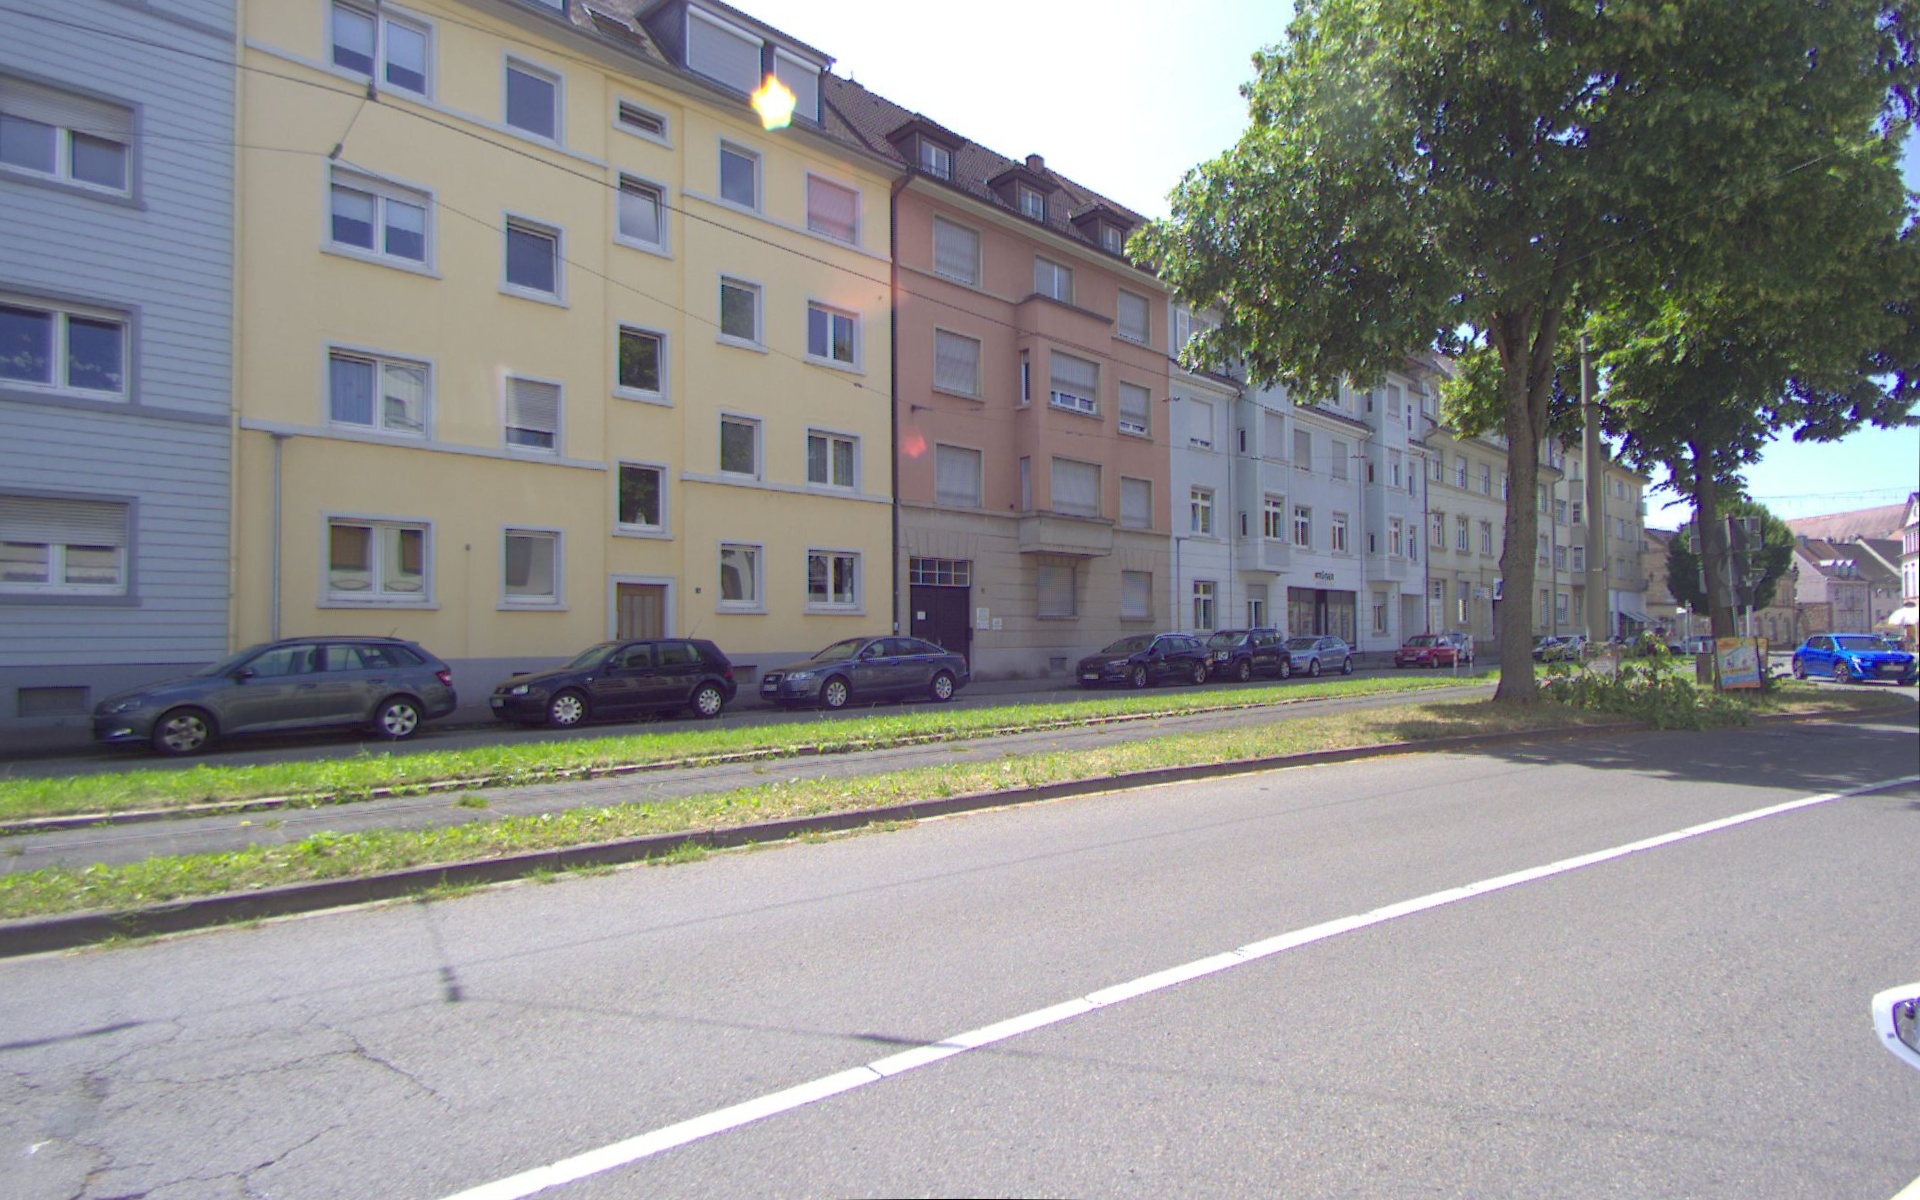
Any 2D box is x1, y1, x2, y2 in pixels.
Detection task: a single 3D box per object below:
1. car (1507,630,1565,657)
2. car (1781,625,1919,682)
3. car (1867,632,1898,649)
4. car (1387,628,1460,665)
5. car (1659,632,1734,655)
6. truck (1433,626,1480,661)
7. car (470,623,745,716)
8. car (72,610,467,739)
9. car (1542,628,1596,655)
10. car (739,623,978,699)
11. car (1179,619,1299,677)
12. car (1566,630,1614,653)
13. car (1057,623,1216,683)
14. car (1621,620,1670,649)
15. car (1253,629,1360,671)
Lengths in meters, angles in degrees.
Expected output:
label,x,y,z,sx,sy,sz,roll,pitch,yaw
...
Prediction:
label,x,y,z,sx,sy,sz,roll,pitch,yaw
car,30.452,2.282,53.073,3.832,1.378,1.670,2,-4,-44
car,26.663,1.547,30.249,1.780,1.512,4.000,1,0,20
car,82.299,3.618,89.641,1.838,1.505,3.982,-1,-2,39
car,19.644,1.963,42.508,3.601,1.470,1.556,2,-4,-44
car,53.288,3.178,72.693,4.158,1.524,1.993,-4,-4,43
truck,22.623,1.964,45.731,1.115,1.514,2.578,-4,-4,45
car,-5.969,1.135,17.305,4.114,1.418,1.813,1,-4,-44
car,-9.534,0.973,14.125,1.908,1.524,4.300,-4,-4,44
car,34.501,2.335,56.892,3.832,1.408,1.670,2,-4,-44
car,-2.022,1.234,21.066,4.828,1.416,1.910,1,-4,-43
car,8.904,1.515,31.846,4.115,1.707,1.819,2,-4,-44
car,37.856,2.472,60.335,3.266,1.294,1.670,2,-4,-44
car,5.011,1.459,28.086,4.830,1.510,1.909,2,-4,-44
car,47.866,2.399,70.078,4.739,1.936,1.835,2,-4,-44
car,12.178,1.732,35.181,4.222,1.374,1.790,2,-4,-44
